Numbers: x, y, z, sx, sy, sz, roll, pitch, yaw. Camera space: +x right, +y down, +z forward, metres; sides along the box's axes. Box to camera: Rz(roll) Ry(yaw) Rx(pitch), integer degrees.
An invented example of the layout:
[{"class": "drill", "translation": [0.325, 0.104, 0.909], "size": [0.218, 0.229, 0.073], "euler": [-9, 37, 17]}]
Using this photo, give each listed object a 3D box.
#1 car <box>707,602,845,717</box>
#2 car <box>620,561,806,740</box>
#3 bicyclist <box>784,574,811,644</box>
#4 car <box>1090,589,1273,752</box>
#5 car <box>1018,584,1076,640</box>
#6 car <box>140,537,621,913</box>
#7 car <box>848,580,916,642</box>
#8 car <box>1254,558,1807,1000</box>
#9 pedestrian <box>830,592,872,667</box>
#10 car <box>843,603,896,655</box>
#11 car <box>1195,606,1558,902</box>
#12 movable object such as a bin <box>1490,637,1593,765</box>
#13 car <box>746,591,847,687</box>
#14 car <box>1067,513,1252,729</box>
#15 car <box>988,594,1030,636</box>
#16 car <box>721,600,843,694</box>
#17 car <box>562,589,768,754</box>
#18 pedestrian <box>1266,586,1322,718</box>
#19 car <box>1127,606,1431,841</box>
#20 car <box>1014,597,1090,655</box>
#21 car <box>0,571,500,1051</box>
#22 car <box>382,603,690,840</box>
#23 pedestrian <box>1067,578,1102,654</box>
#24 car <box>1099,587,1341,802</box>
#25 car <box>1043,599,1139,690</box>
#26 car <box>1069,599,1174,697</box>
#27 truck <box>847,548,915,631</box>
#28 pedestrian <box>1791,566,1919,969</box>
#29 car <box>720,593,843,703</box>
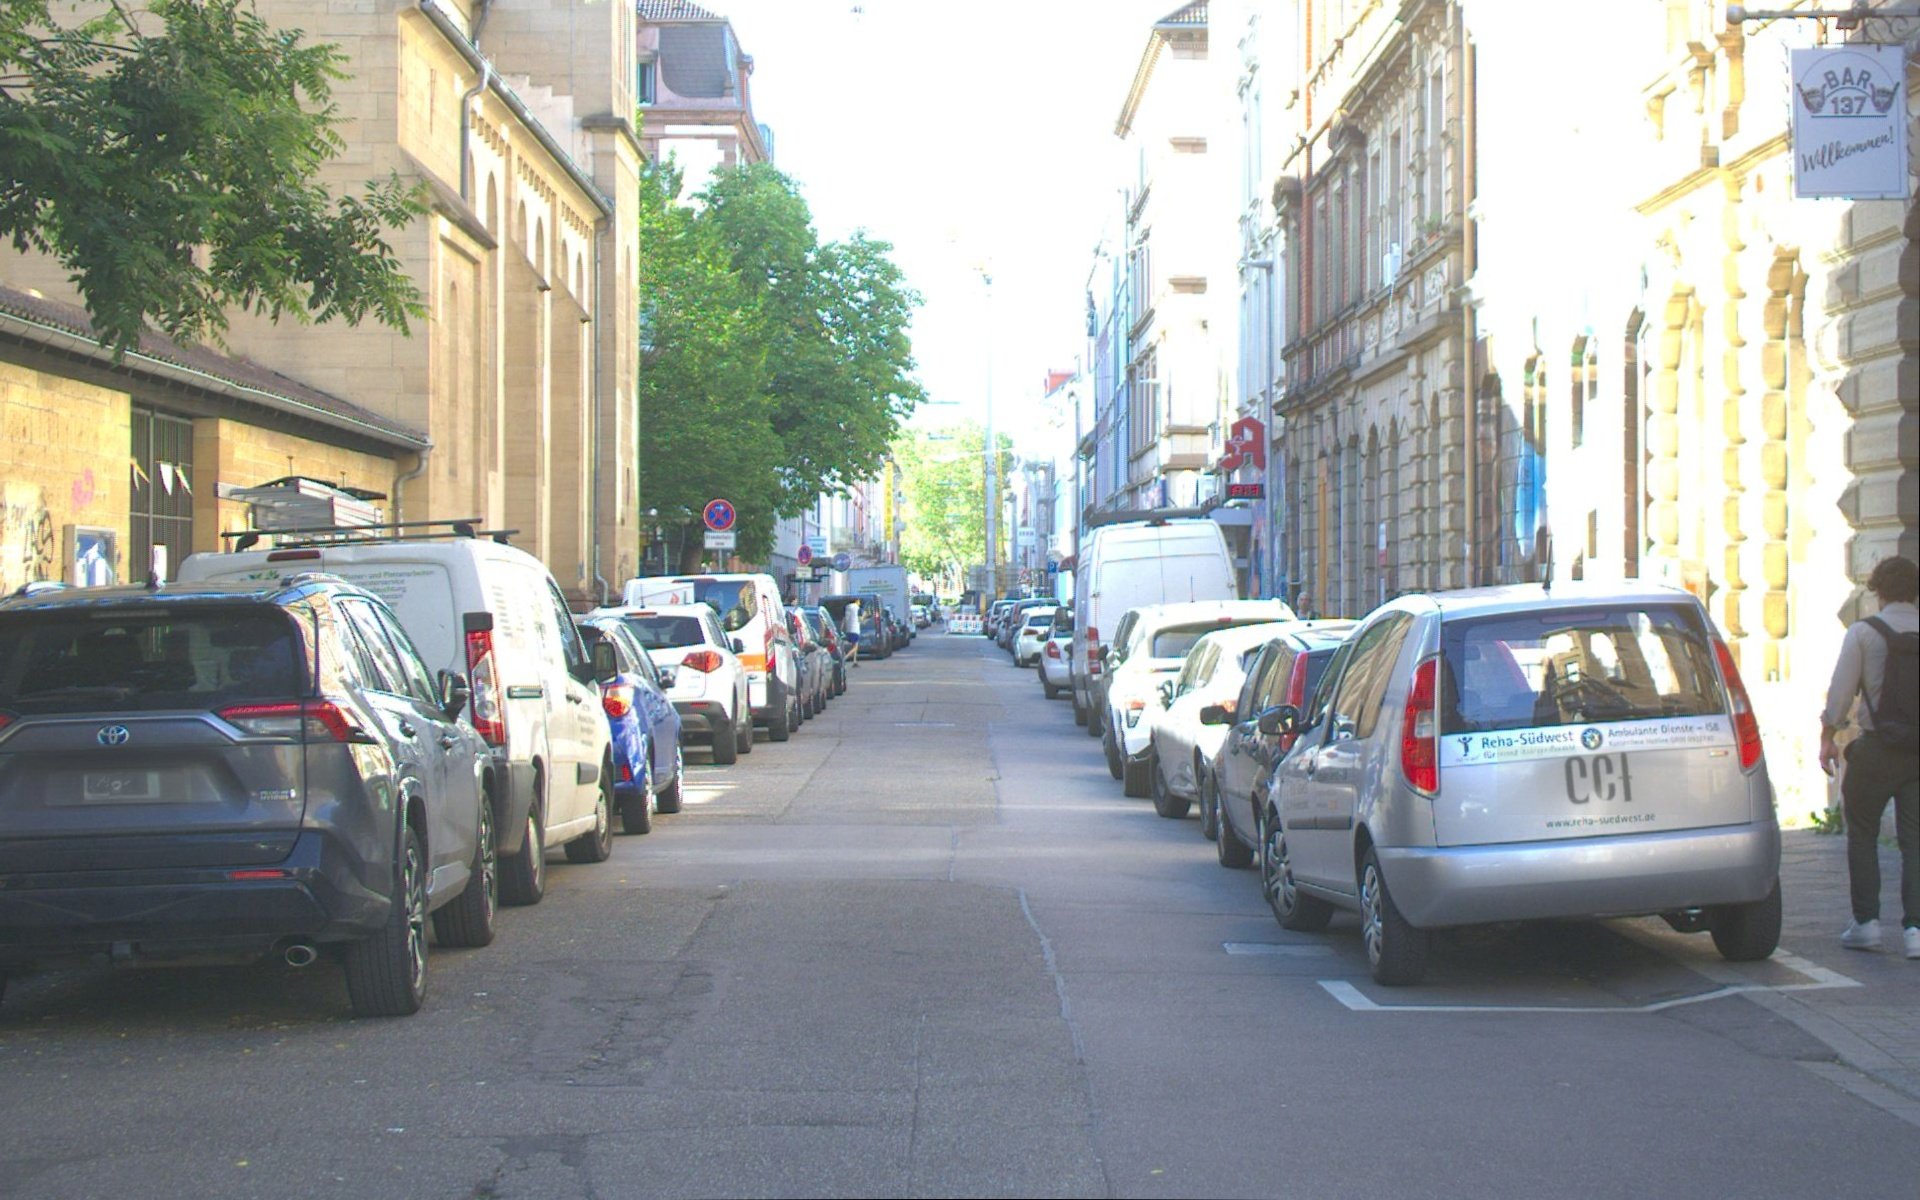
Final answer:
[{"class": "car", "translation": [-2.486, 0.787, 47.125], "size": [1.615, 1.447, 3.950], "euler": [-2, 0, 0]}, {"class": "car", "translation": [-2.878, 0.560, 40.938], "size": [1.864, 1.950, 4.610], "euler": [-2, 0, 0]}, {"class": "bicyclist", "translation": [-3.932, 0.223, 83.073], "size": [0.605, 1.682, 0.885], "euler": [0, 0, 0]}, {"class": "car", "translation": [2.293, 0.699, 36.421], "size": [1.687, 1.637, 3.924], "euler": [0, 0, 0]}, {"class": "car", "translation": [2.766, 0.378, 109.763], "size": [1.769, 1.735, 4.000], "euler": [0, 0, 1]}, {"class": "car", "translation": [-3.087, 0.597, 19.236], "size": [1.845, 1.856, 4.465], "euler": [0, 1, 1]}, {"class": "car", "translation": [-2.265, 0.310, 101.112], "size": [1.875, 1.790, 4.000], "euler": [0, 0, 1]}, {"class": "car", "translation": [2.410, 0.693, 15.473], "size": [1.703, 1.708, 3.938], "euler": [-1, 0, -2]}, {"class": "pedestrian", "translation": [-2.722, 0.735, 85.990], "size": [0.783, 1.837, 1.011], "euler": [1, 0, 16]}, {"class": "car", "translation": [-3.251, 1.028, 123.141], "size": [1.875, 1.790, 4.000], "euler": [0, 0, -1]}, {"class": "car", "translation": [2.326, 0.816, 19.991], "size": [1.535, 1.508, 3.682], "euler": [-1, 0, -2]}, {"class": "movable object such as a bin", "translation": [4.941, 0.853, 29.211], "size": [0.548, 1.049, 0.603], "euler": [-3, 0, -33]}, {"class": "car", "translation": [-2.928, 0.686, 62.020], "size": [1.600, 1.609, 3.808], "euler": [-2, 0, 0]}, {"class": "car", "translation": [2.518, 0.234, 44.750], "size": [2.068, 2.602, 5.888], "euler": [0, 0, 0]}, {"class": "car", "translation": [2.336, 0.701, 165.595], "size": [1.993, 2.007, 4.000], "euler": [0, 0, 1]}, {"class": "car", "translation": [-2.927, 0.753, 57.089], "size": [1.570, 1.393, 3.808], "euler": [-4, 0, 3]}, {"class": "car", "translation": [-2.956, 0.687, 35.102], "size": [1.742, 1.581, 3.869], "euler": [0, 0, 0]}, {"class": "pedestrian", "translation": [4.558, 0.708, 46.937], "size": [0.639, 1.766, 0.679], "euler": [2, 0, -2]}, {"class": "car", "translation": [2.256, 0.841, 25.232], "size": [1.572, 1.520, 3.909], "euler": [2, 0, -4]}, {"class": "car", "translation": [2.372, 0.658, 89.304], "size": [1.897, 1.483, 3.869], "euler": [0, 0, 1]}, {"class": "car", "translation": [-2.955, 0.714, 13.949], "size": [1.740, 1.641, 4.289], "euler": [0, 0, -2]}, {"class": "car", "translation": [-2.936, 0.799, 24.522], "size": [1.687, 1.472, 3.860], "euler": [-2, 0, 0]}, {"class": "pedestrian", "translation": [3.039, 0.389, 84.081], "size": [0.681, 1.837, 0.695], "euler": [1, 0, -11]}, {"class": "car", "translation": [2.196, 0.780, 30.027], "size": [1.808, 1.684, 4.214], "euler": [2, 0, 1]}, {"class": "car", "translation": [2.293, 0.763, 60.744], "size": [1.604, 1.499, 4.000], "euler": [1, 0, 1]}, {"class": "car", "translation": [2.600, 0.758, 55.926], "size": [1.570, 1.490, 3.653], "euler": [1, 0, 1]}, {"class": "truck", "translation": [-3.178, -0.413, 139.579], "size": [2.532, 3.271, 6.994], "euler": [0, 0, 1]}, {"class": "pedestrian", "translation": [3.829, 0.668, 14.151], "size": [0.590, 1.598, 0.727], "euler": [-1, 1, -2]}, {"class": "car", "translation": [-2.662, 0.692, 51.930], "size": [1.673, 1.553, 4.000], "euler": [-1, 0, -1]}]
